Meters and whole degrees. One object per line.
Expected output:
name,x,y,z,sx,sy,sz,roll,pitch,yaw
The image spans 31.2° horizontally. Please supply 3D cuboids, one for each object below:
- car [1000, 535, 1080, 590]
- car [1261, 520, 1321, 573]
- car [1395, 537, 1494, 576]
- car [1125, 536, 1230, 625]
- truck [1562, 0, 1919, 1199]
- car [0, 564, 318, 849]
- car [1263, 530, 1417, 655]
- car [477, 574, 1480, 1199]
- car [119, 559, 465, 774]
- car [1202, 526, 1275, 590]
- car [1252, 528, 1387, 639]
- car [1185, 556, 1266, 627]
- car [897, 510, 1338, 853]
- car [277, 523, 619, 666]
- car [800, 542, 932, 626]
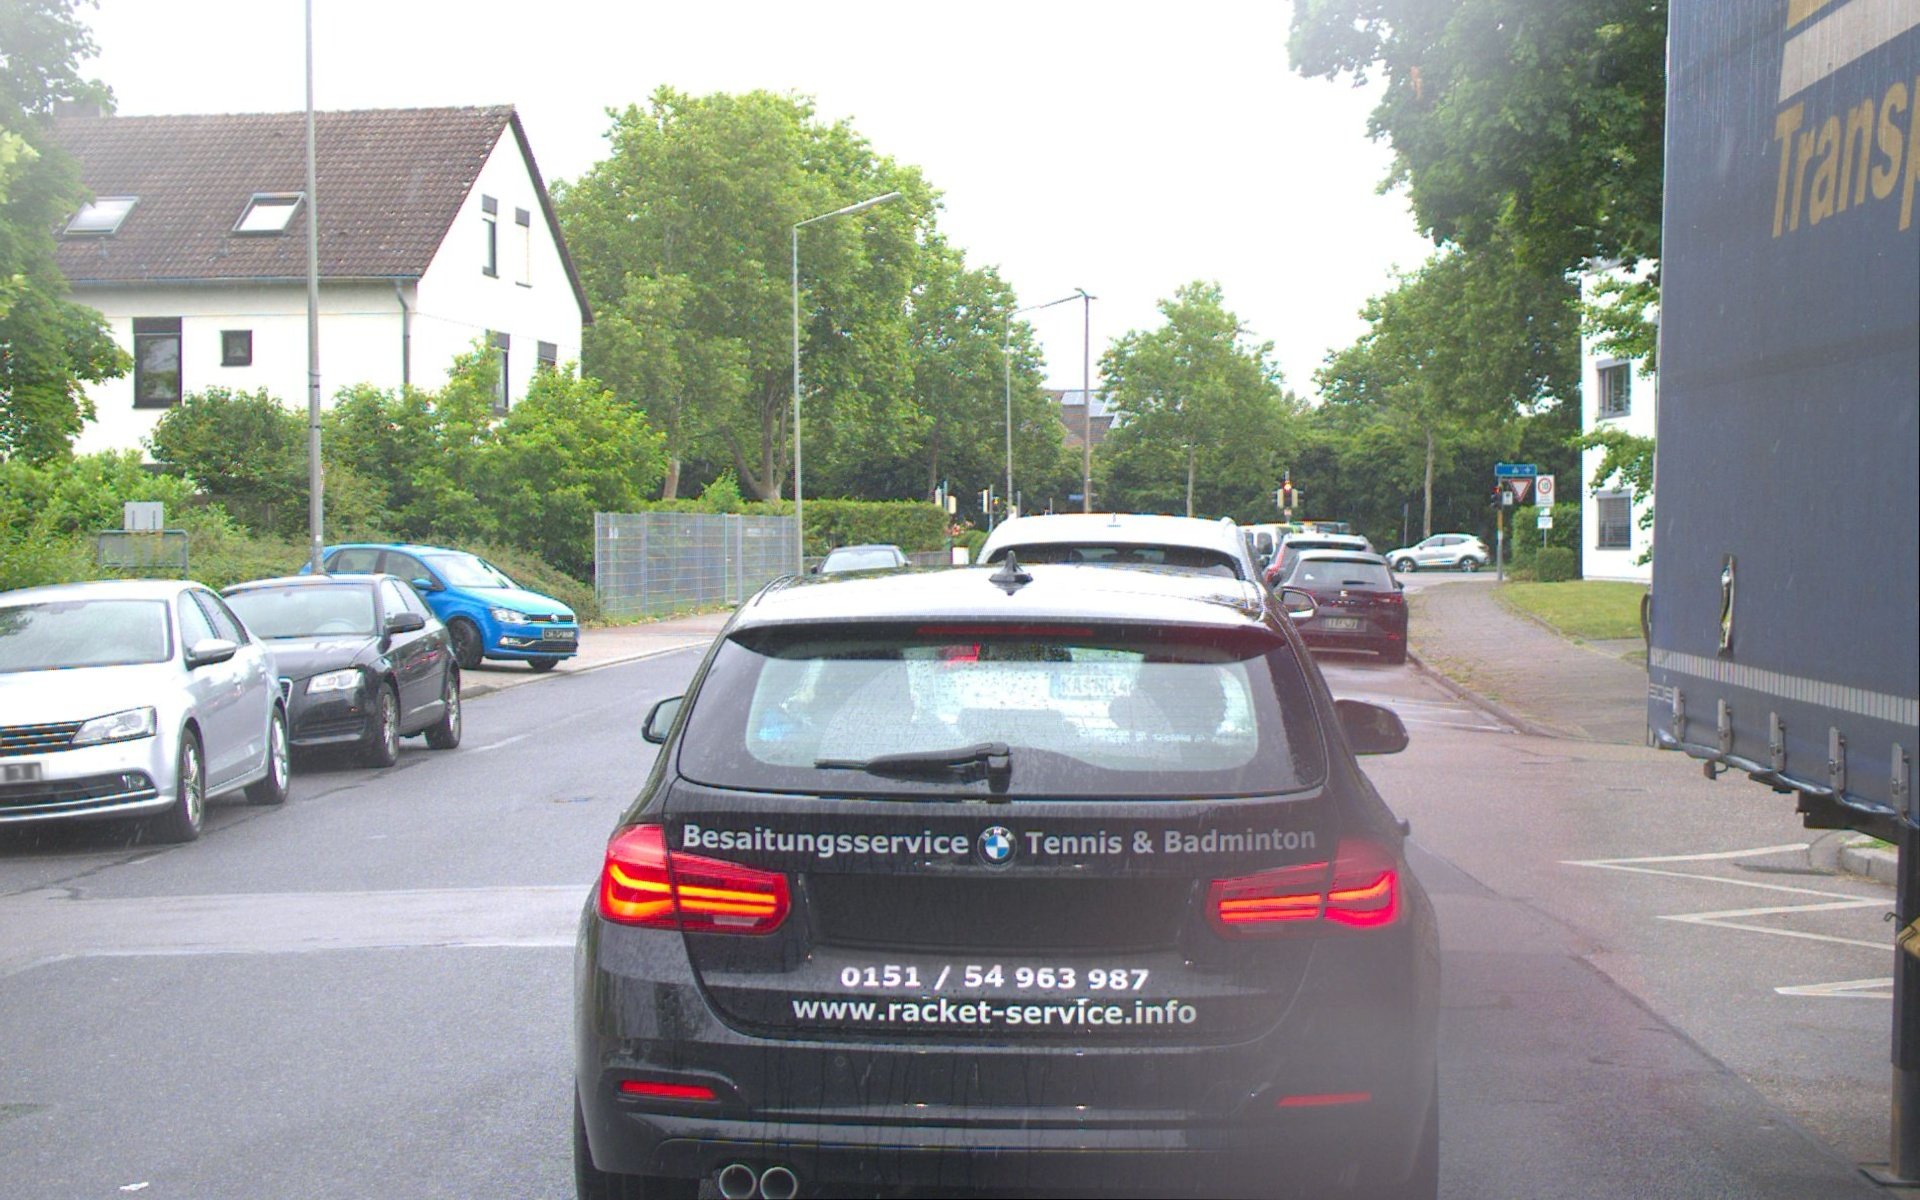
car,2.204,-1.043,93.881,1.706,1.362,3.837,-2,1,8
car,10.084,-1.643,104.950,1.804,1.581,3.999,0,1,5
car,19.849,-1.781,140.951,3.826,1.409,1.711,-2,1,3
car,4.033,-0.366,63.391,1.804,1.581,3.999,1,1,5
truck,3.118,-0.538,5.729,2.741,3.598,7.750,2,1,0
car,-4.965,0.536,19.706,1.705,1.362,4.602,-2,1,-1
car,5.045,-0.110,46.038,1.804,1.581,4.000,1,1,3
car,-0.117,0.650,8.195,1.804,1.390,4.001,1,1,-5
car,-4.837,0.430,25.398,1.705,1.362,3.838,-2,1,1
car,7.049,-1.076,86.932,1.804,1.581,3.999,0,1,5
car,5.354,-0.258,51.588,1.804,1.581,4.000,1,1,3
car,6.182,-0.214,79.707,1.804,1.581,3.999,1,1,5
car,0.699,0.362,17.982,1.804,1.581,4.001,1,1,-5
car,-6.313,-0.066,42.353,3.831,1.589,1.709,-2,1,27
car,-1.669,-0.317,62.110,1.706,1.362,3.837,-2,1,8
